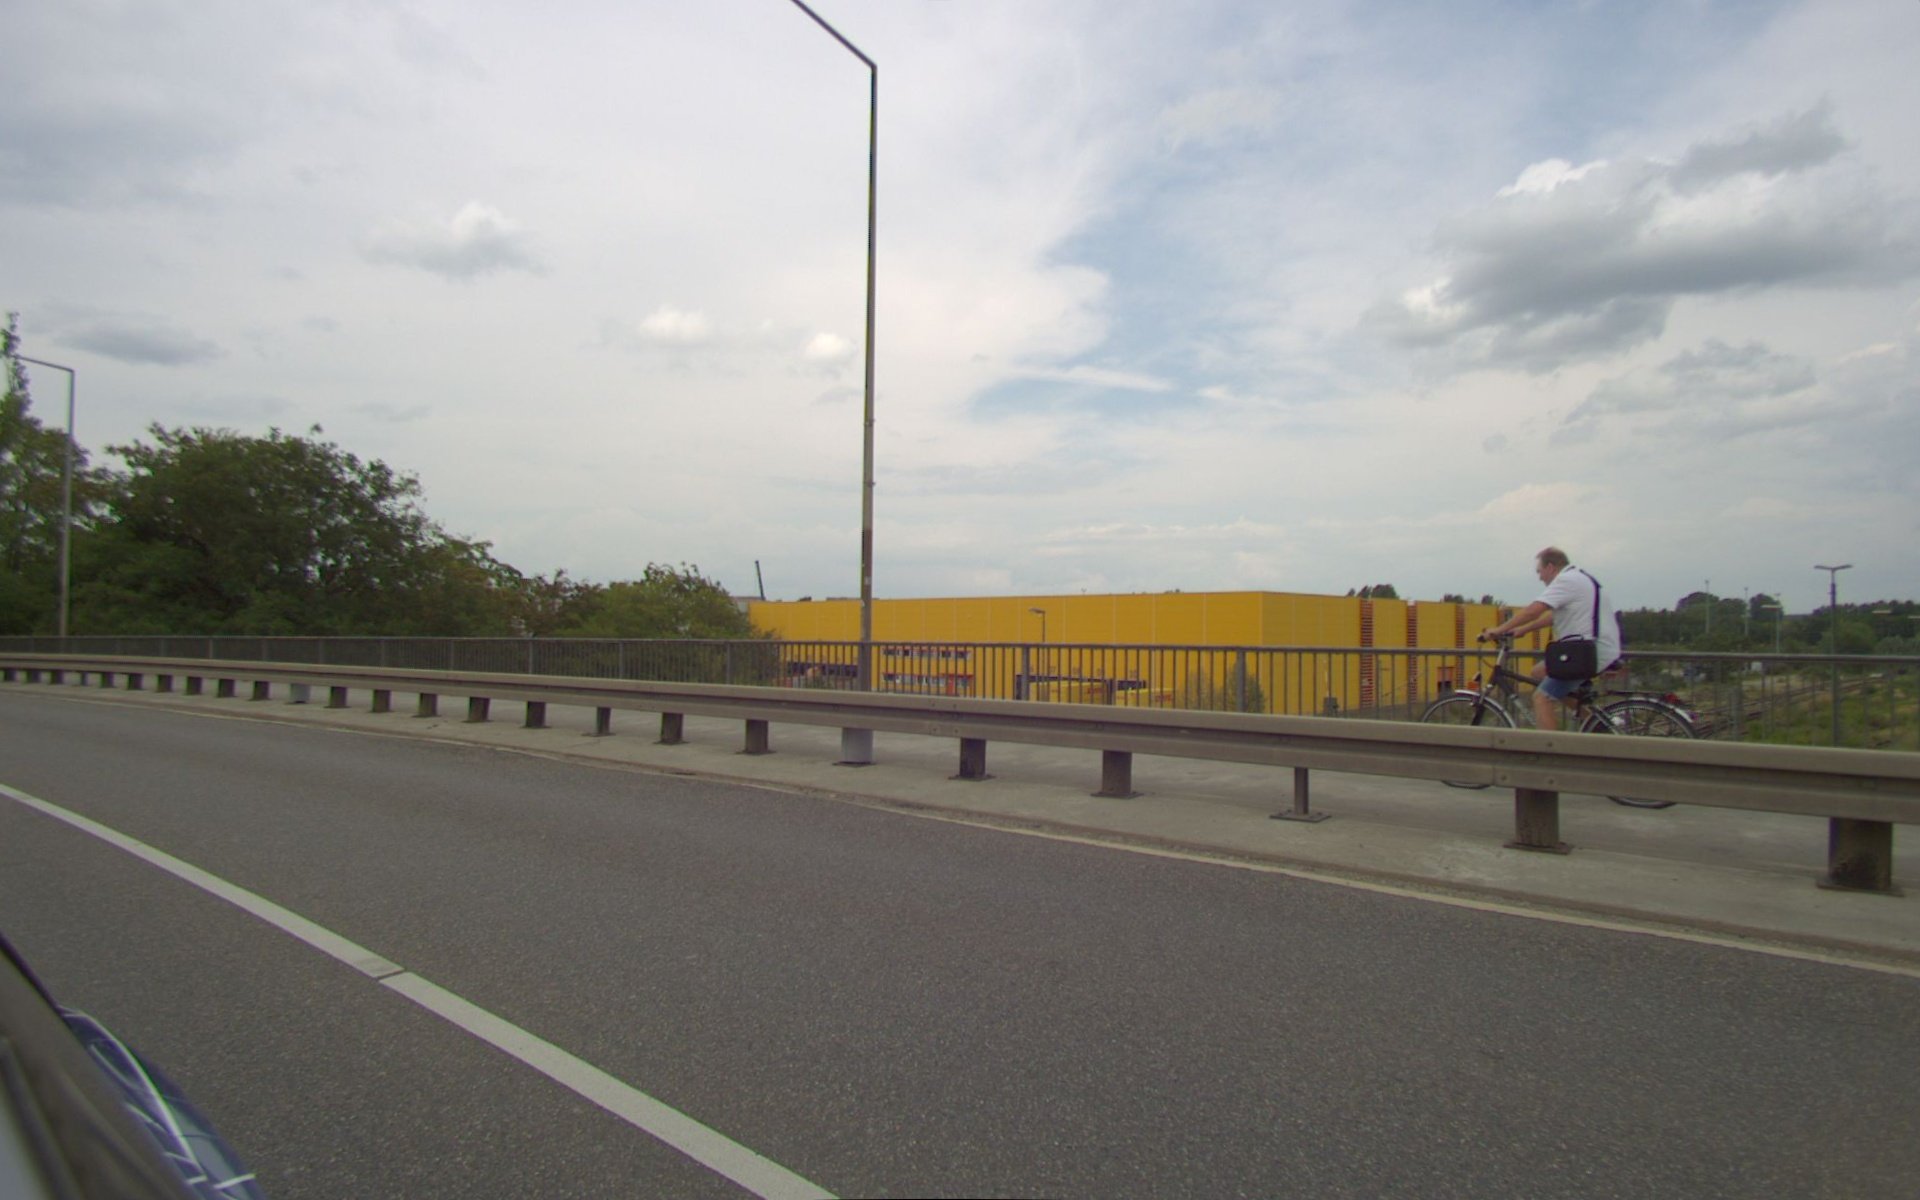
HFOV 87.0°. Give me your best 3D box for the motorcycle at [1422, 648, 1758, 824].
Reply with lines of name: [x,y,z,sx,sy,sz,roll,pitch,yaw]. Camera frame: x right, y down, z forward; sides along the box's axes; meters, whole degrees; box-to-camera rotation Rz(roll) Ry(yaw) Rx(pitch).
motorcycle: [4.171,0.841,6.797,1.838,0.970,0.619,-1,0,40]

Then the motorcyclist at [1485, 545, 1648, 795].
motorcyclist: [4.092,0.432,6.819,0.823,1.541,0.802,-1,0,39]
